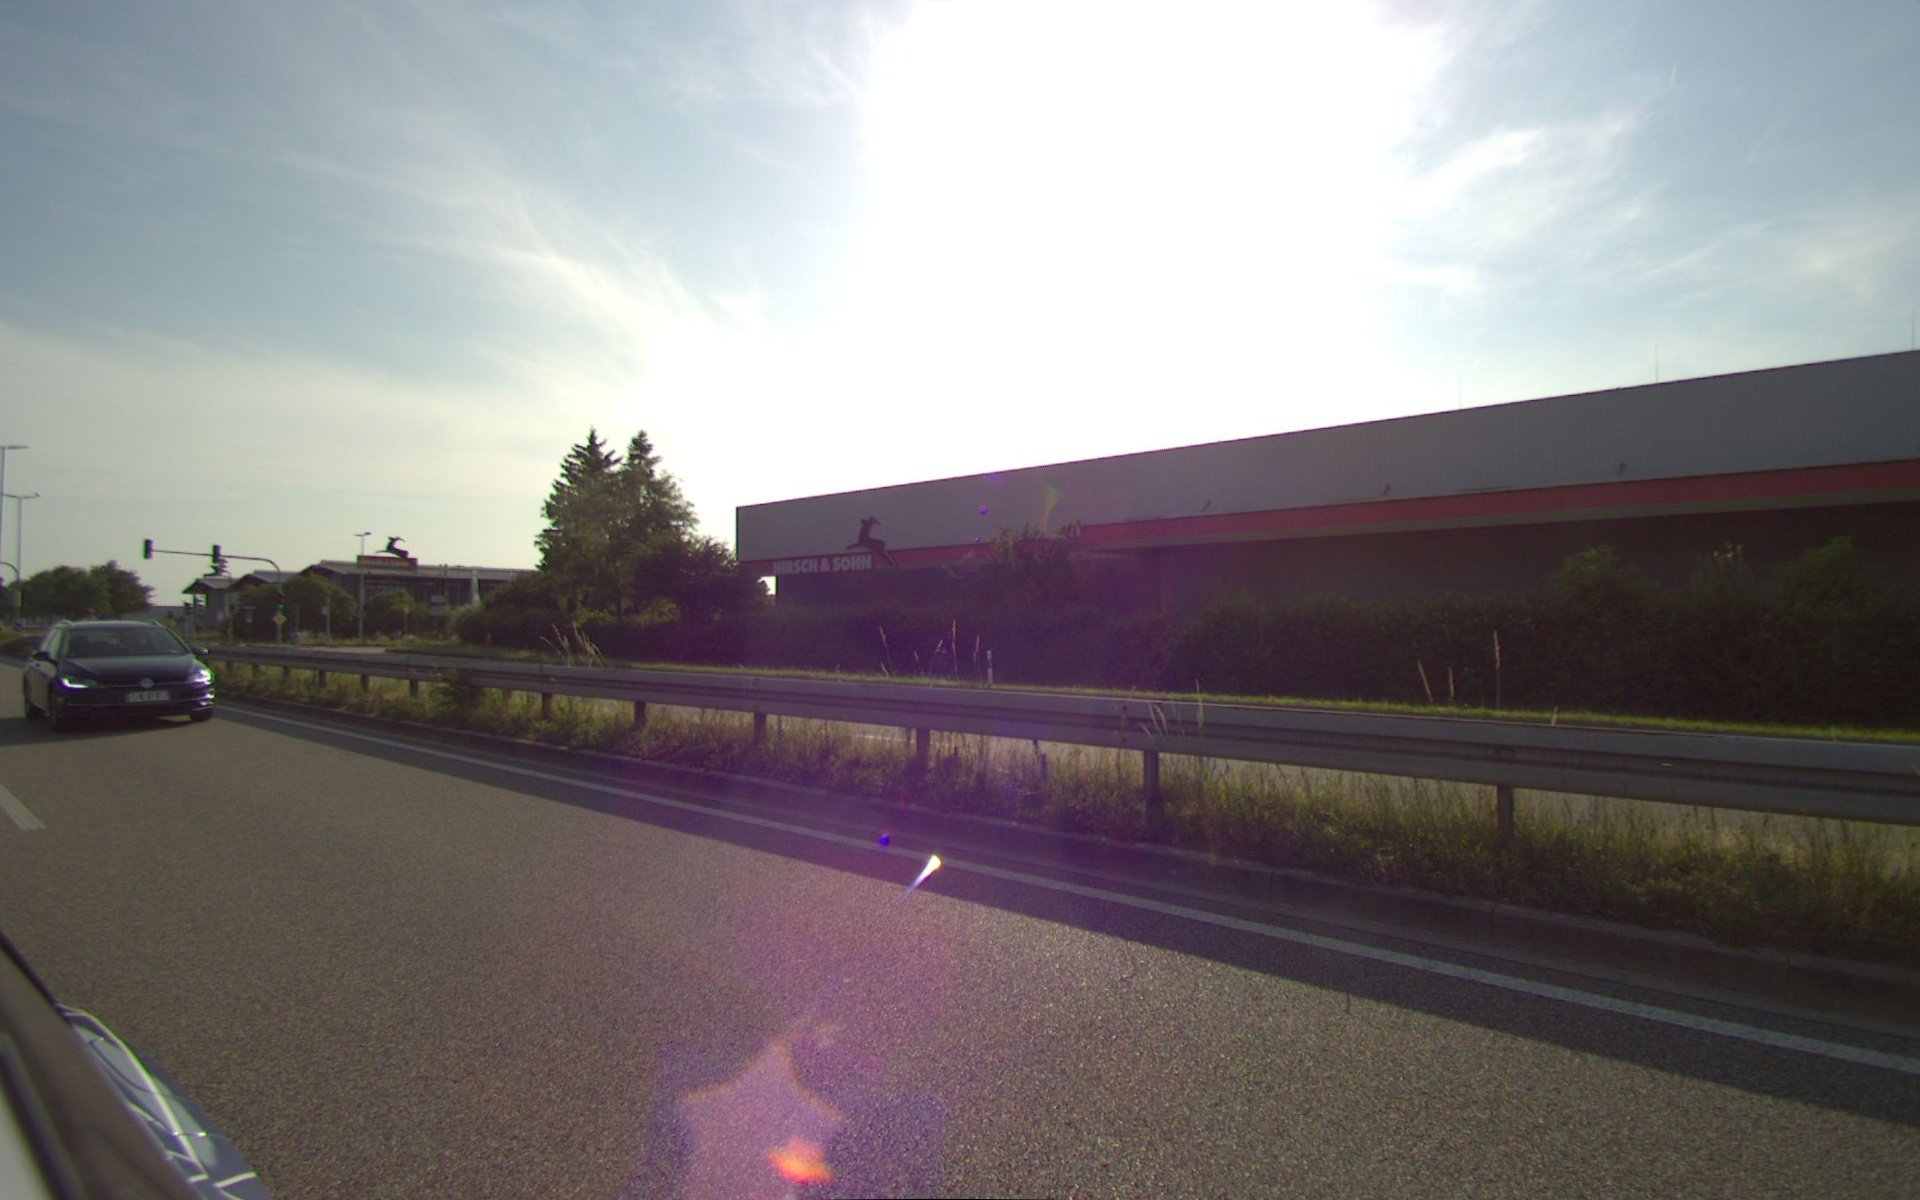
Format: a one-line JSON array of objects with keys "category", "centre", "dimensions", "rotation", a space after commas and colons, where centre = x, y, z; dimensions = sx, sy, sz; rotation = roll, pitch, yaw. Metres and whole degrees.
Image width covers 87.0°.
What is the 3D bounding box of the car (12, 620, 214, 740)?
[{"category": "car", "centre": [-12.603, 1.075, 14.947], "dimensions": [4.774, 1.482, 1.629], "rotation": [-2, -2, 42]}]
